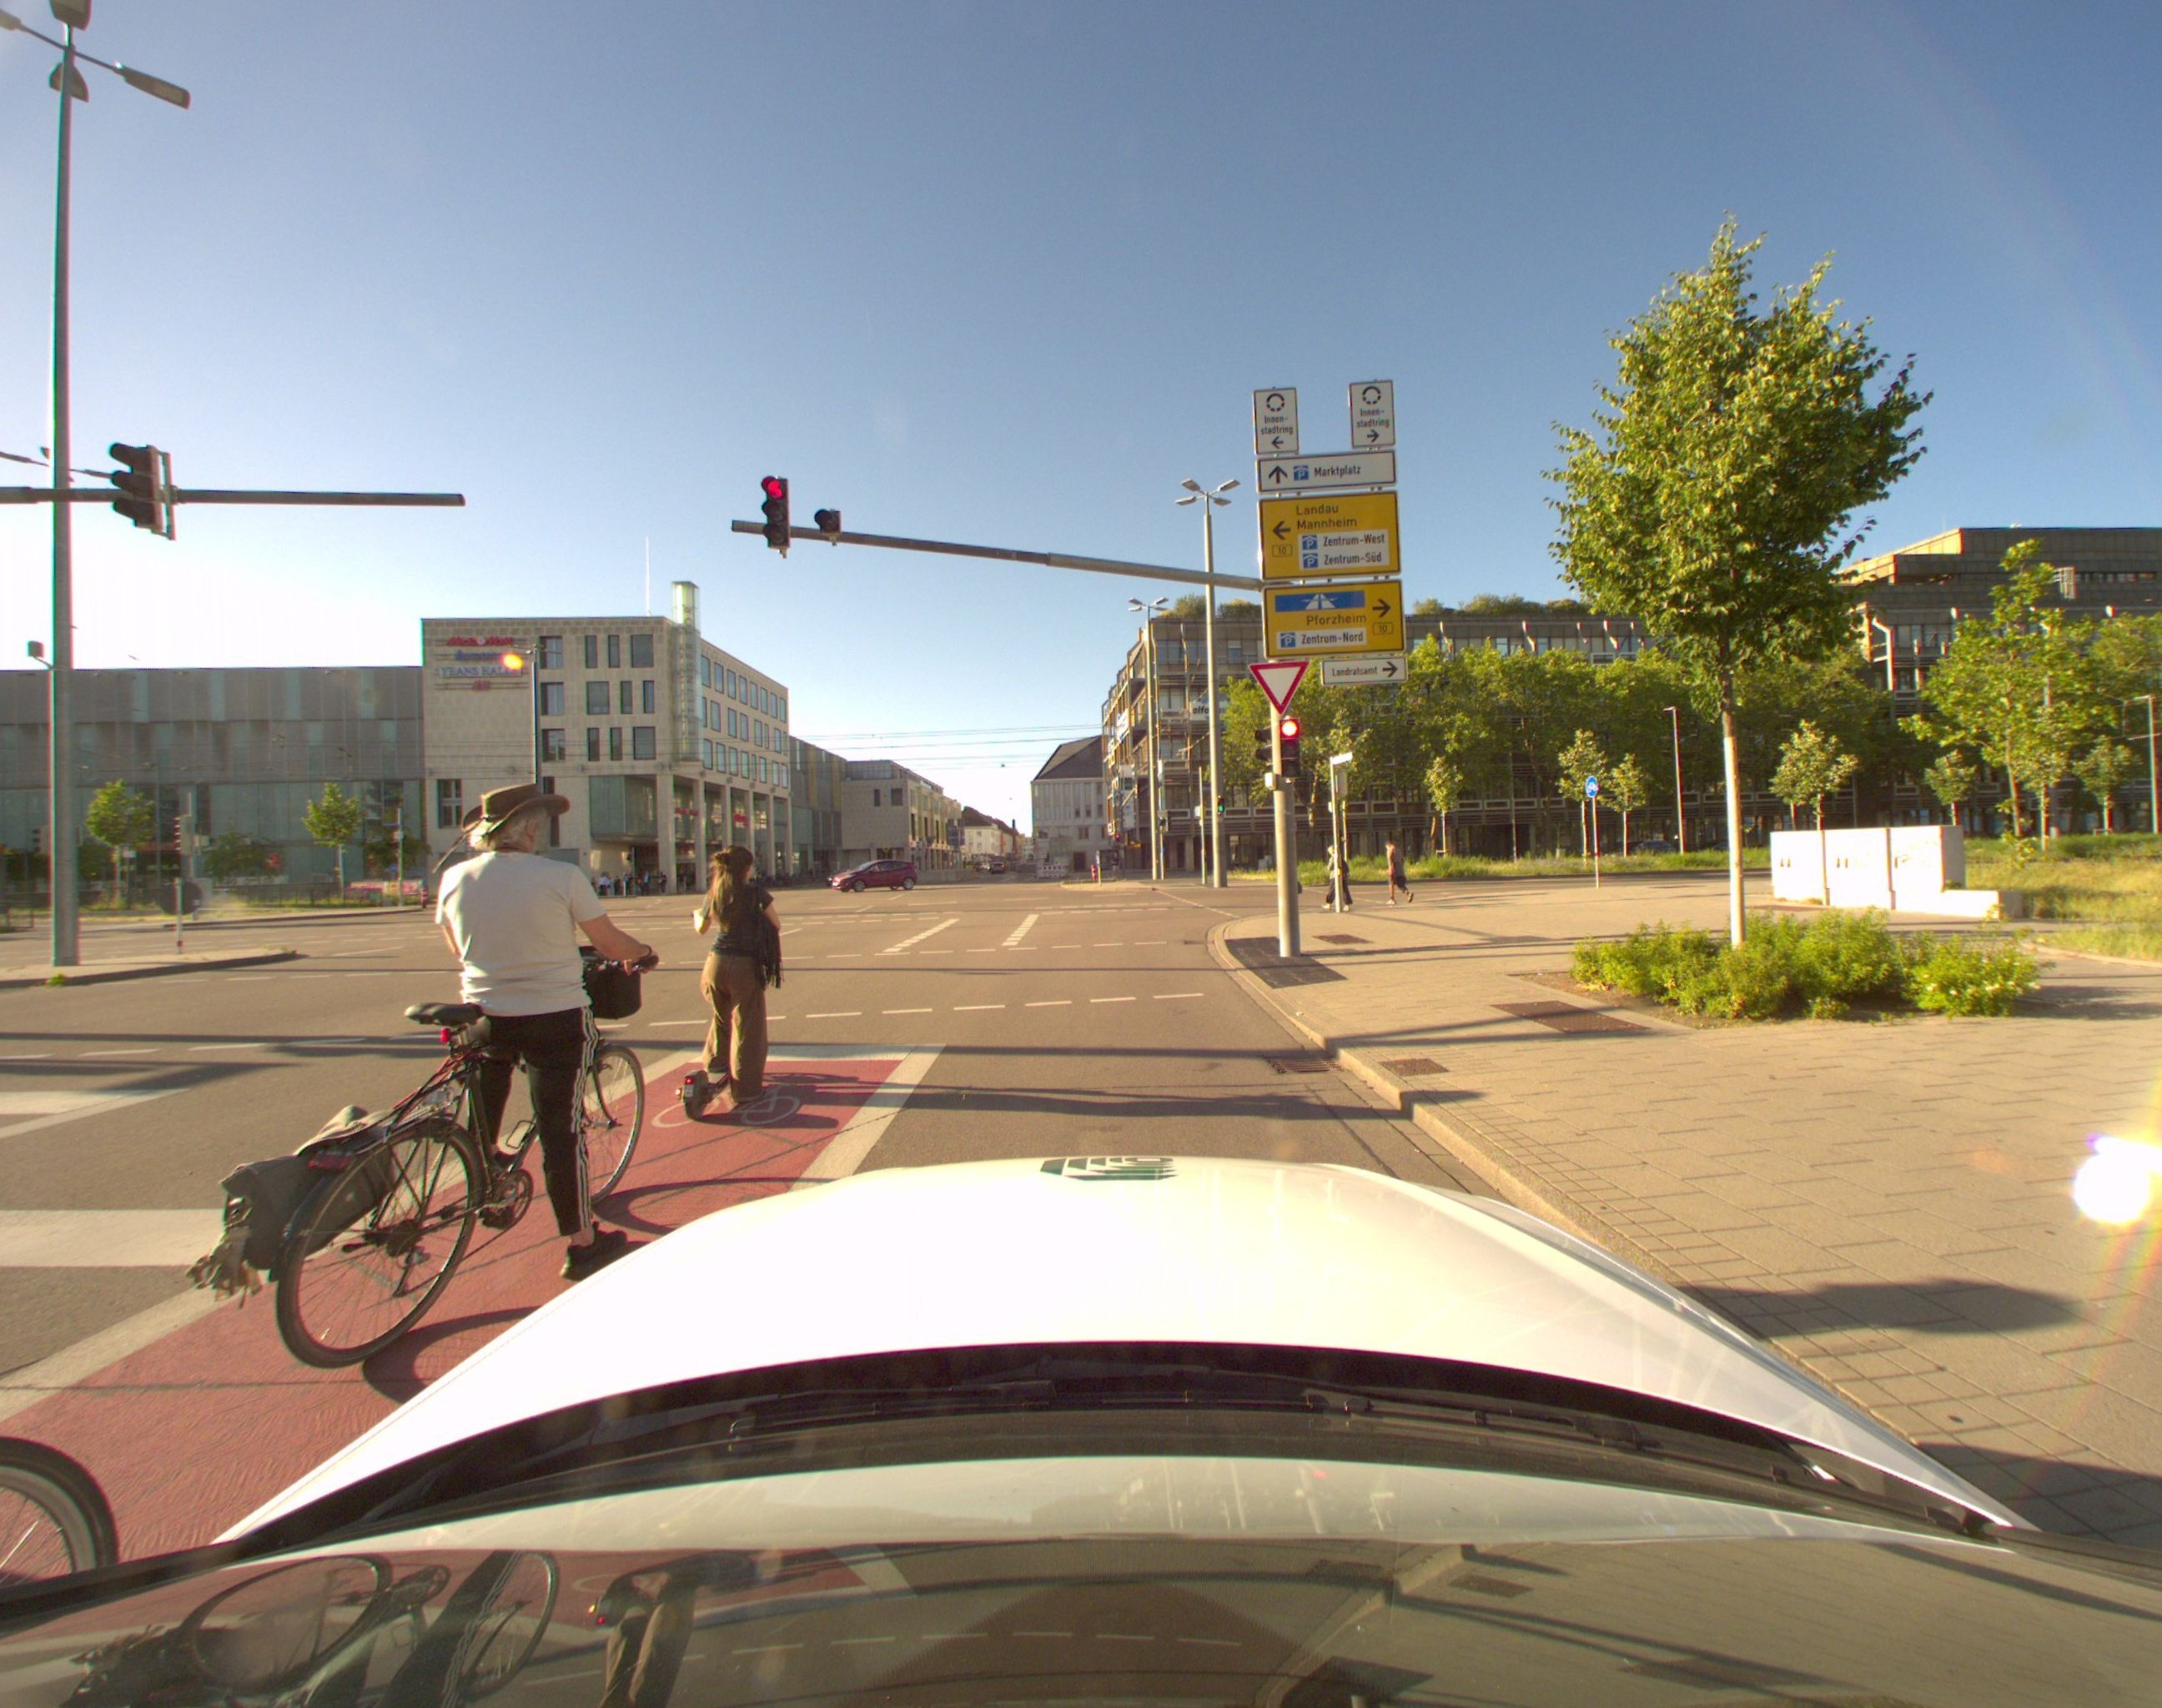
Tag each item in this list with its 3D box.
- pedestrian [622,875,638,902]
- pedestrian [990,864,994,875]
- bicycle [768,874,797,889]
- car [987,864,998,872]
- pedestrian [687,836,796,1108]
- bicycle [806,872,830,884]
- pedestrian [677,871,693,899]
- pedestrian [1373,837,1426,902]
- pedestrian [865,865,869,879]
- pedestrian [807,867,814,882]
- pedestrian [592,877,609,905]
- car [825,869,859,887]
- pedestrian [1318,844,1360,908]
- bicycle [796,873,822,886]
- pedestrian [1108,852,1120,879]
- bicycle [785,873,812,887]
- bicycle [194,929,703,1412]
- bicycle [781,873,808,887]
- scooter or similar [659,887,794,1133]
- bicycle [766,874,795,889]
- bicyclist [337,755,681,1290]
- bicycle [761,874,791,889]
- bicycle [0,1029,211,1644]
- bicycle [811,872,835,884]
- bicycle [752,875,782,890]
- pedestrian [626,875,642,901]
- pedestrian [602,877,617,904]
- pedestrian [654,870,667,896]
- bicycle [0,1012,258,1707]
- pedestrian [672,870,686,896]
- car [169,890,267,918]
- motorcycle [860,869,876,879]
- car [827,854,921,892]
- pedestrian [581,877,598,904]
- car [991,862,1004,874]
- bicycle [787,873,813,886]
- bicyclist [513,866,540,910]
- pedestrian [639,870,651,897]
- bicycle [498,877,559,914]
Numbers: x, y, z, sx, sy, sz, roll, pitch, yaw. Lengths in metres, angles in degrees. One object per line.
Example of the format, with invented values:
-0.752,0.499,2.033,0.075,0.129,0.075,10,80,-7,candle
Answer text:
-31.950,2.447,57.690,0.783,1.885,0.716,0,-1,-4,pedestrian
-12.844,2.229,117.698,0.520,1.679,0.582,0,0,-5,pedestrian
-26.745,2.431,72.894,2.299,1.222,0.612,-2,0,-1,bicycle
-17.498,2.754,161.722,1.793,1.657,3.997,0,-1,-2,car
-2.163,0.708,5.243,0.549,1.633,0.569,0,-1,-13,pedestrian
-27.593,2.541,85.579,2.299,1.222,0.612,-2,0,-1,bicycle
-29.476,2.291,60.573,0.883,2.014,0.771,0,-1,-9,pedestrian
8.414,0.402,21.536,0.880,1.665,0.959,0,-1,-16,pedestrian
-26.108,2.183,99.354,0.521,1.679,0.580,0,0,-12,pedestrian
-29.947,2.283,90.207,0.553,1.679,0.606,0,0,-8,pedestrian
-33.872,2.609,57.371,0.783,1.885,0.716,0,-1,-4,pedestrian
-20.629,2.045,70.506,1.625,1.342,3.999,-4,-1,0,car
6.119,0.515,19.355,0.785,1.492,0.644,0,-1,1,pedestrian
-27.190,2.503,81.341,2.299,1.222,0.612,-2,0,-1,bicycle
2.321,0.809,57.412,0.785,1.890,0.644,0,-1,1,pedestrian
-27.068,2.476,78.130,2.299,1.222,0.612,-2,0,-1,bicycle
-2.149,0.945,3.137,0.483,1.156,1.832,0,-1,2,bicycle
-26.701,2.456,75.962,2.299,1.222,0.612,-2,0,-1,bicycle
-2.157,0.872,5.074,0.547,1.294,1.188,0,-1,-13,scooter or similar
-26.569,2.422,72.009,2.299,1.222,0.612,-2,0,-1,bicycle
-2.056,0.545,3.060,0.658,1.720,0.866,0,-1,1,bicyclist
-26.467,2.411,70.650,2.299,1.222,0.612,-2,0,-1,bicycle
-2.423,0.984,0.979,0.645,1.109,1.970,0,0,-1,bicycle
-27.429,2.548,86.645,2.299,1.222,0.612,-2,0,-1,bicycle
-26.738,2.402,69.373,2.299,1.222,0.612,-2,0,-1,bicycle
-32.516,2.464,59.241,0.783,1.885,0.716,0,-1,-4,pedestrian
-33.995,2.621,58.718,0.714,1.885,0.786,0,-1,-6,pedestrian
-30.796,2.114,59.664,0.800,1.843,0.856,-2,0,-26,pedestrian
-1.833,0.908,0.593,0.614,1.218,1.831,0,0,-1,bicycle
-29.110,2.062,58.938,0.801,1.843,0.855,-2,0,-30,pedestrian
-52.404,3.023,49.509,3.892,1.585,1.656,0,-1,-5,car
-25.788,2.422,98.737,1.807,1.206,0.509,0,0,-14,motorcycle
-9.636,0.861,38.036,3.917,1.585,1.640,-2,-1,-39,car
-35.190,2.594,58.353,0.783,1.885,0.716,0,-1,-4,pedestrian
-11.144,1.848,108.654,1.735,1.531,3.848,0,-1,-5,car
-27.634,2.497,80.124,2.299,1.222,0.612,-2,0,-1,bicycle
-18.420,1.120,27.037,0.717,1.437,0.491,0,-1,-37,bicyclist
-31.128,2.115,58.140,0.718,1.885,0.781,0,-1,-25,pedestrian
-18.371,1.372,27.080,1.658,1.154,0.491,0,-1,-38,bicycle
